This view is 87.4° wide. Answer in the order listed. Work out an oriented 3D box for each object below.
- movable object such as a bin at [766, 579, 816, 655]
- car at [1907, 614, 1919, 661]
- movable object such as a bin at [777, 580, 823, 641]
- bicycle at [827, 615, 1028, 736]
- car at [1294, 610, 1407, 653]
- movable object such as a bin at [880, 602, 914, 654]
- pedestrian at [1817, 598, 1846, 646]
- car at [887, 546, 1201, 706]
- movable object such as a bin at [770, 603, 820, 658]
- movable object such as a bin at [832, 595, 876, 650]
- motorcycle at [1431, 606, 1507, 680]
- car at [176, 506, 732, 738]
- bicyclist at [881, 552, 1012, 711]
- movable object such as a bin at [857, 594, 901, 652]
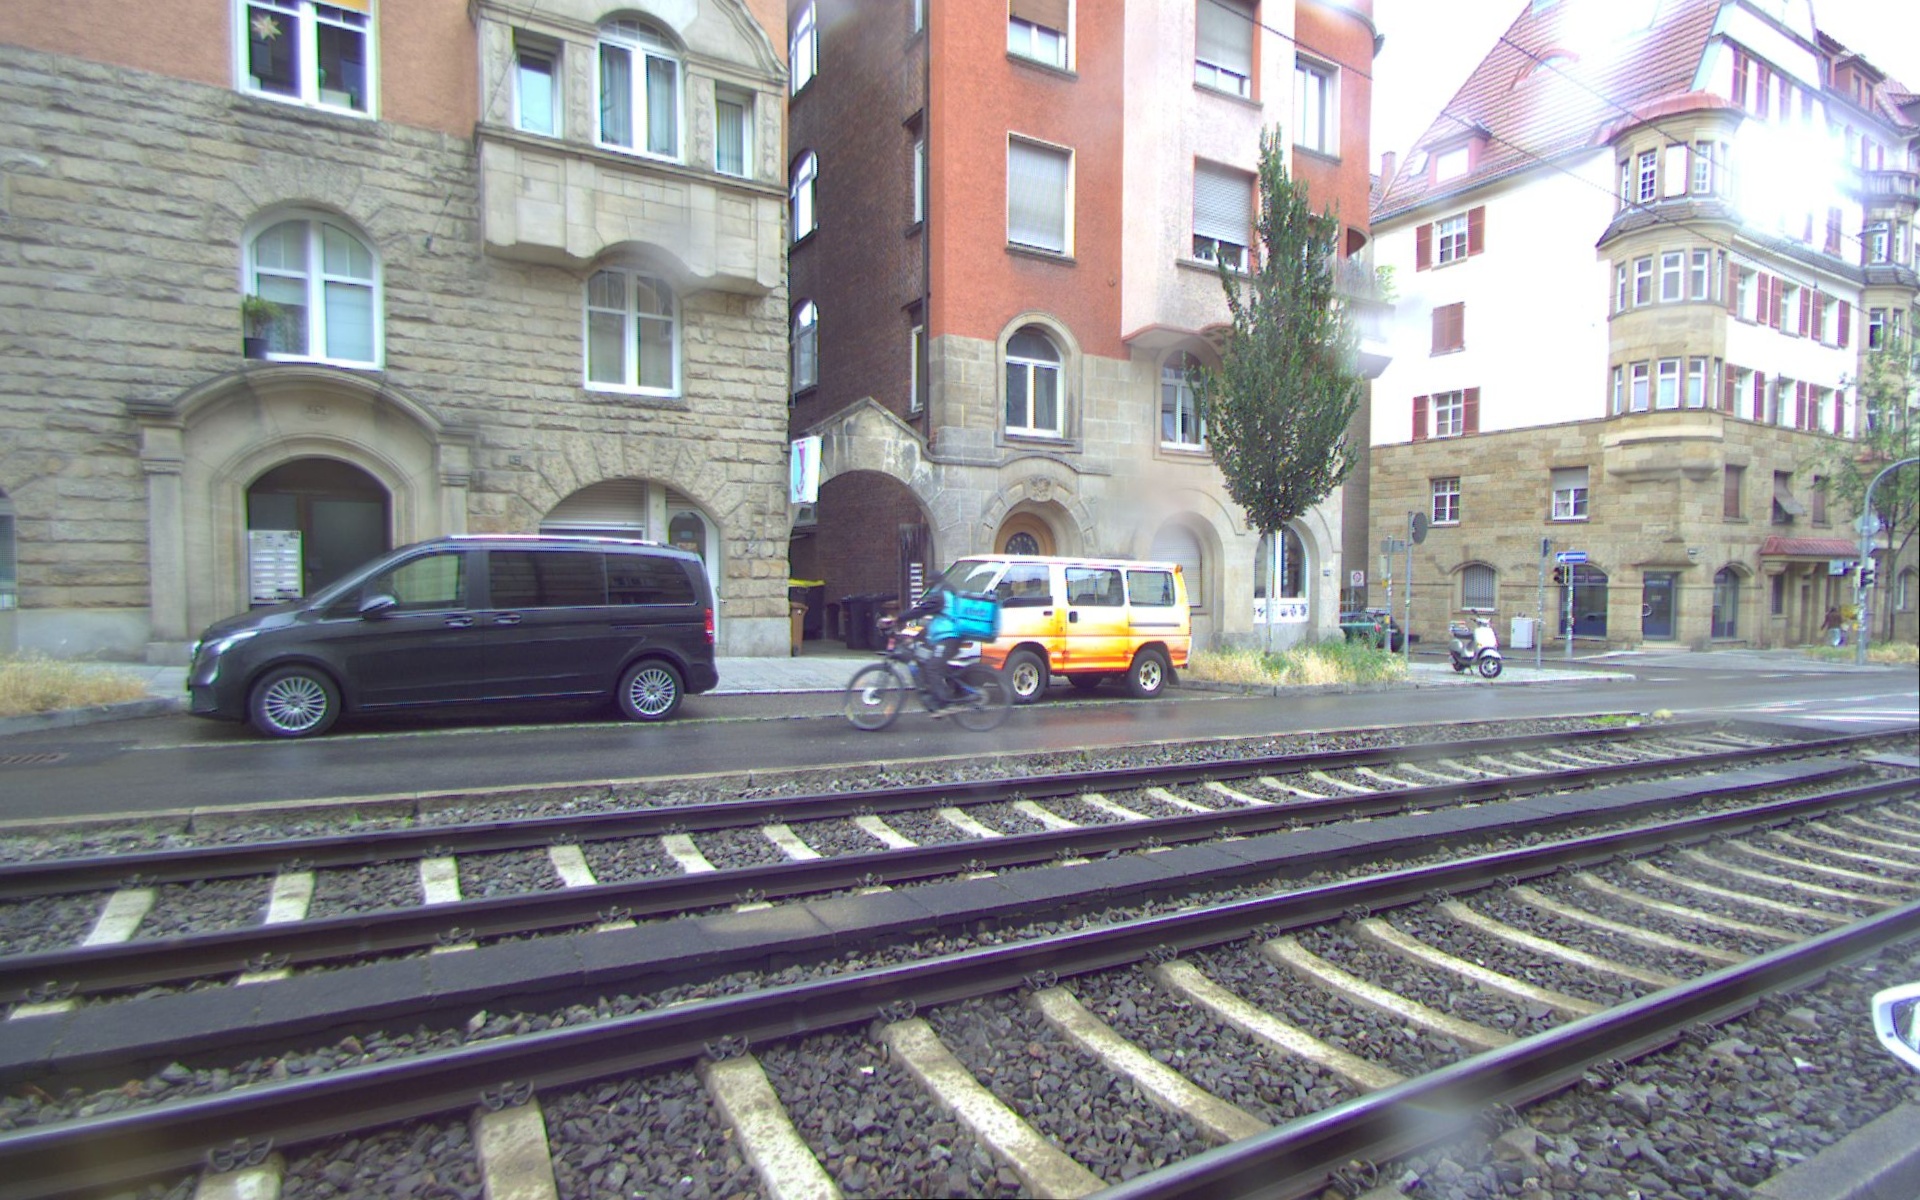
[{"bbox_3d":[-3.109,0.298,18.460,0.648,1.360,0.903,1,1,-27],"label":"movable object such as a bin"},{"bbox_3d":[34.166,1.328,34.349,3.994,1.573,1.741,2,0,-34],"label":"car"},{"bbox_3d":[-3.613,0.234,22.654,0.676,1.324,1.154,1,1,-26],"label":"movable object such as a bin"},{"bbox_3d":[-0.365,0.795,10.742,2.002,1.202,0.824,2,0,-12],"label":"bicycle"},{"bbox_3d":[14.459,1.151,37.340,1.683,1.423,3.618,2,0,-34],"label":"car"},{"bbox_3d":[-1.176,0.512,18.628,0.442,0.957,0.557,1,-1,-27],"label":"movable object such as a bin"},{"bbox_3d":[30.903,0.781,35.628,0.696,1.695,0.626,2,0,-38],"label":"pedestrian"},{"bbox_3d":[1.273,0.374,14.436,4.295,2.001,1.721,2,0,-32],"label":"car"},{"bbox_3d":[-2.894,0.520,17.587,0.627,0.918,0.793,1,1,-27],"label":"movable object such as a bin"},{"bbox_3d":[-2.086,0.442,19.682,0.607,1.052,0.793,1,-1,-27],"label":"movable object such as a bin"},{"bbox_3d":[10.103,0.828,19.997,0.612,1.384,1.596,2,0,-3],"label":"motorcycle"},{"bbox_3d":[-5.054,0.249,10.591,4.769,1.968,1.984,2,0,-30],"label":"car"},{"bbox_3d":[-0.165,0.338,10.786,1.232,1.618,0.885,1,0,-12],"label":"bicyclist"},{"bbox_3d":[-1.548,0.437,19.136,0.607,1.090,0.679,1,-1,-27],"label":"movable object such as a bin"}]
